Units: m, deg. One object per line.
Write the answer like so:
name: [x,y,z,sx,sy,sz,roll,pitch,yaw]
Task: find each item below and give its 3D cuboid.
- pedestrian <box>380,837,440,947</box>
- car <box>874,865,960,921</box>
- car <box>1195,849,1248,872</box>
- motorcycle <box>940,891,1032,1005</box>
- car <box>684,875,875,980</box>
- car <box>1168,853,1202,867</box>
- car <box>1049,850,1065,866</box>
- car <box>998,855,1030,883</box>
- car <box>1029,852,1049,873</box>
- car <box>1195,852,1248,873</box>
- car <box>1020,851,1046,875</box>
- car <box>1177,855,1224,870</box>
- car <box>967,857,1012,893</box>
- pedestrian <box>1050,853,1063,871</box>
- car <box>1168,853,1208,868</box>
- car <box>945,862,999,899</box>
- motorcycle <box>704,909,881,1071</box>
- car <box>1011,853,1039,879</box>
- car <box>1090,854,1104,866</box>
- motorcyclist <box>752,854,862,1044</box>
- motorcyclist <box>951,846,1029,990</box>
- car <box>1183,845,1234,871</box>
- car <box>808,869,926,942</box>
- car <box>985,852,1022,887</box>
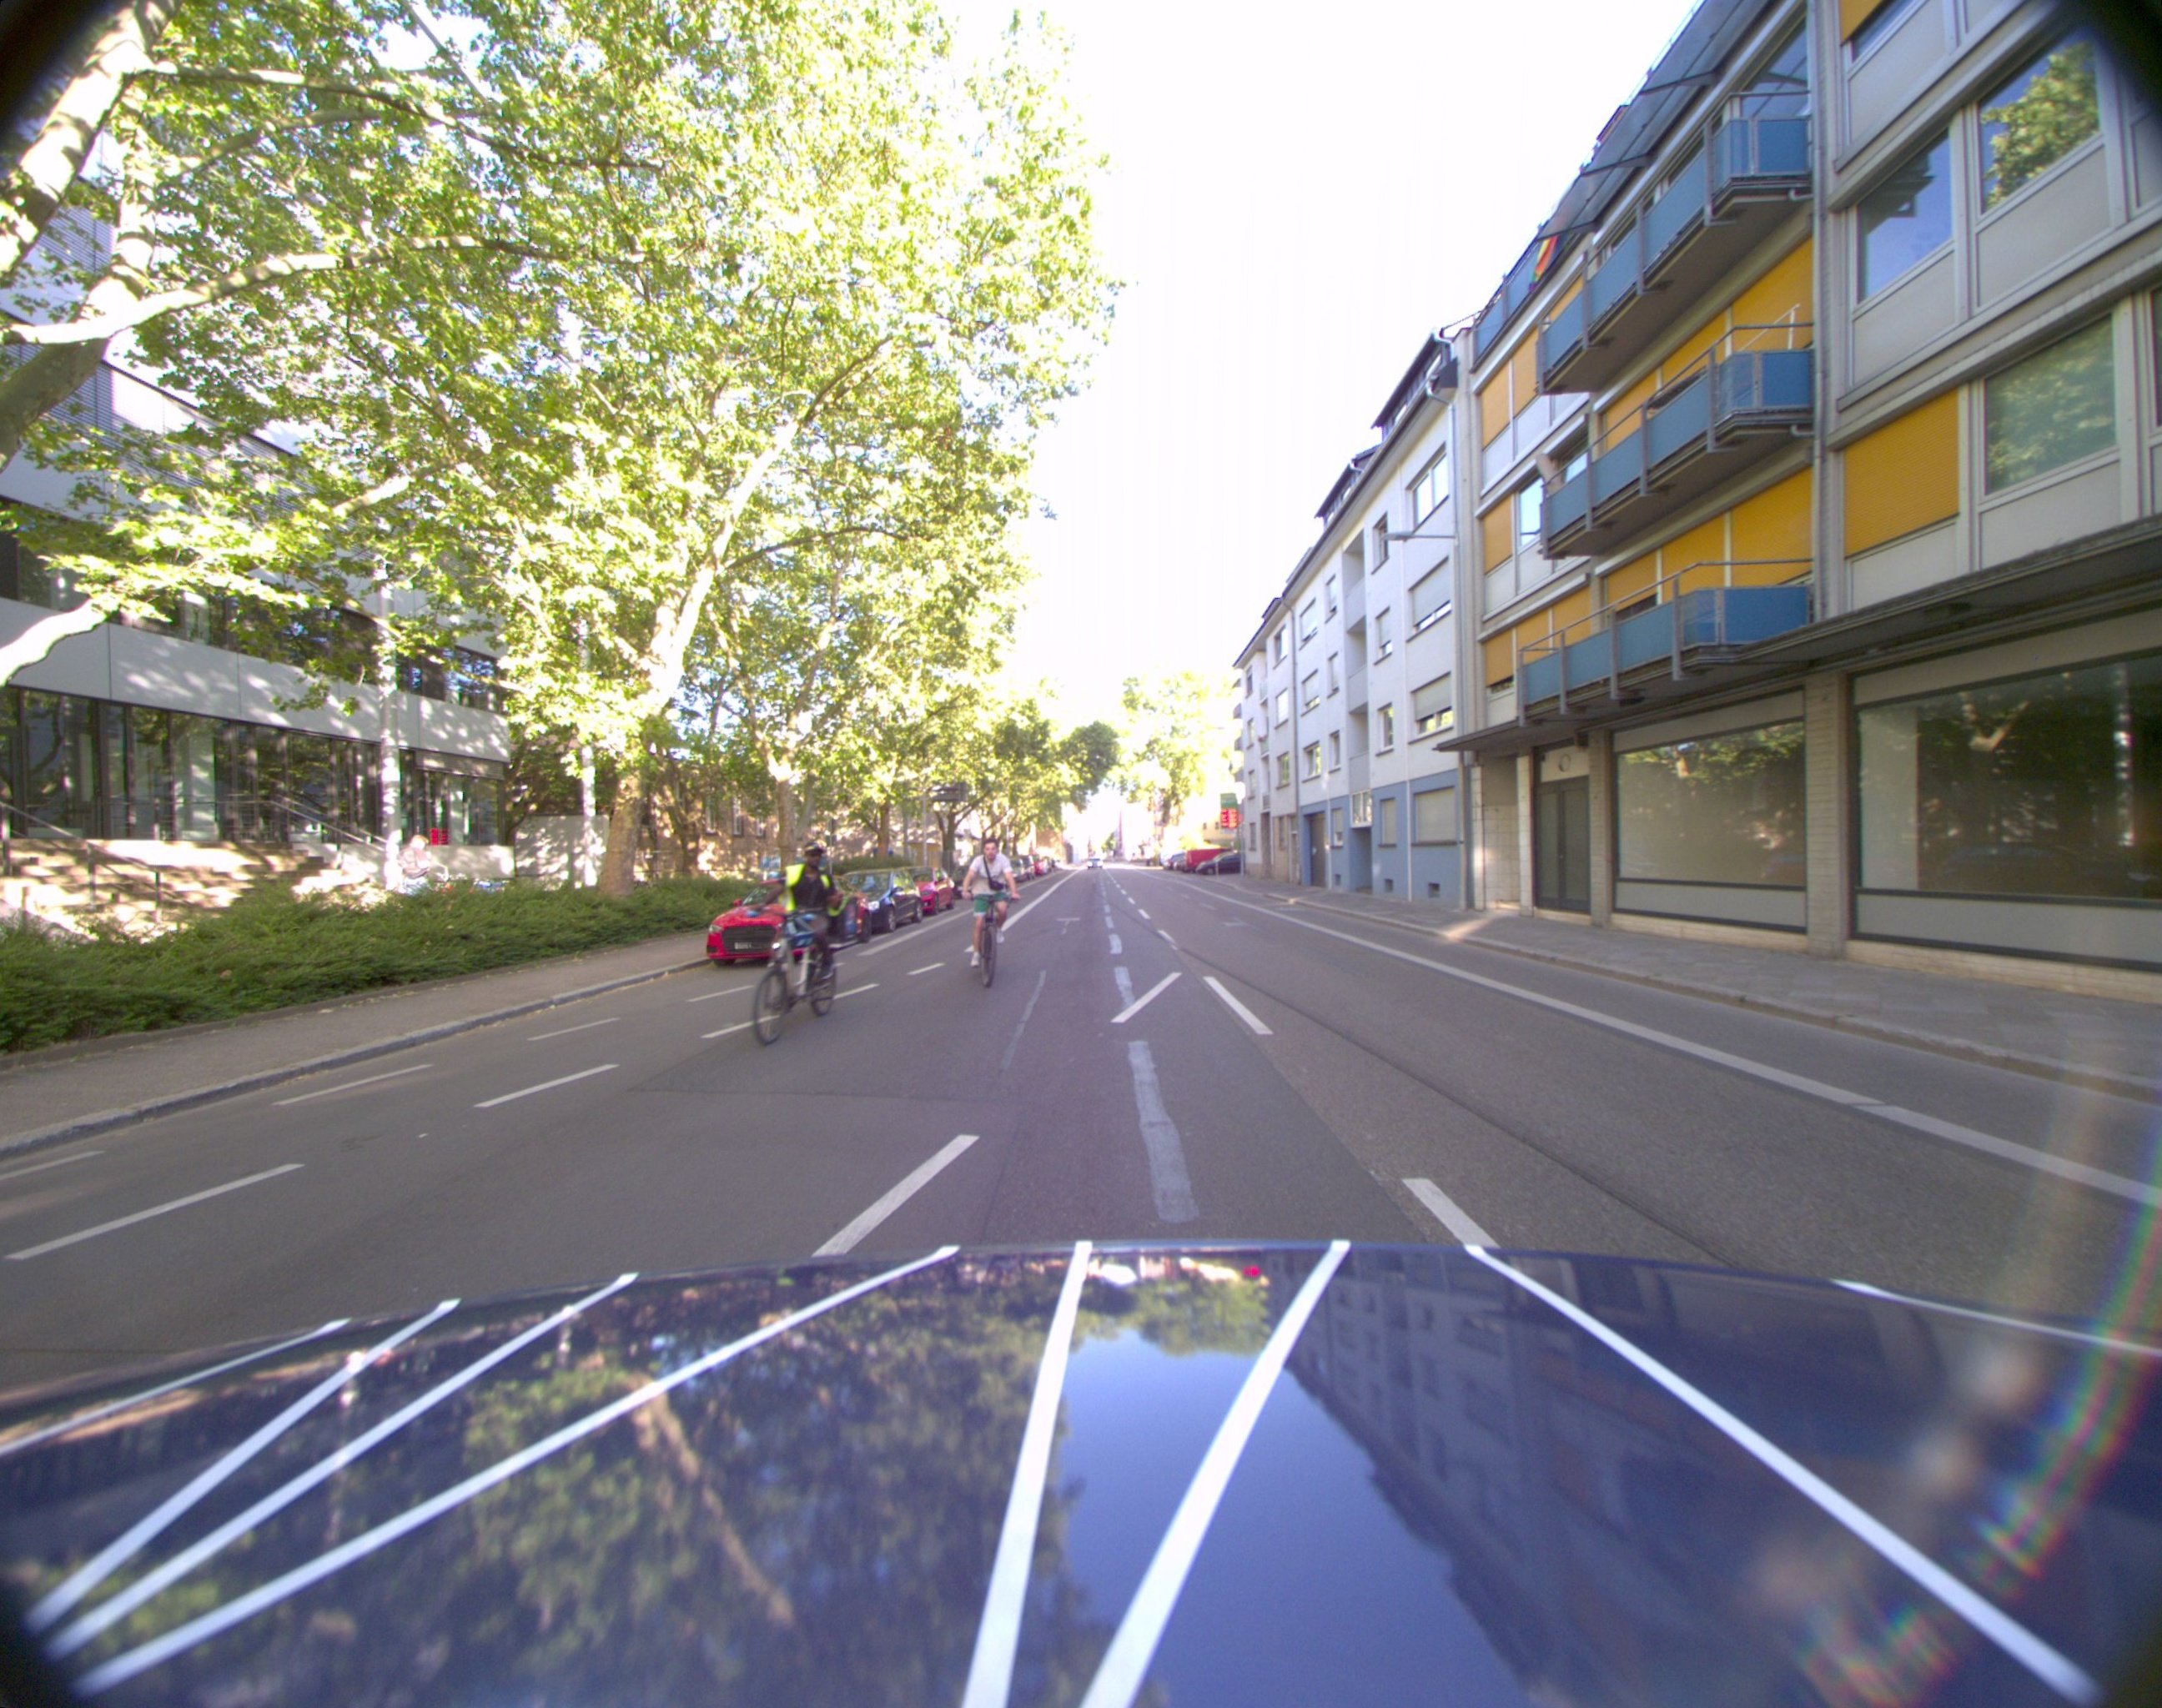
pedestrian: [-12.669,0.699,14.355,0.552,2.002,0.562,-2,1,-11]
car: [-5.013,1.133,23.684,1.692,1.441,3.923,-2,1,1]
car: [10.535,0.481,57.097,3.687,1.503,1.490,-2,1,2]
motorcycle: [-1.146,1.121,9.665,0.865,1.161,1.929,-2,1,1]
car: [-5.162,1.180,13.657,1.794,1.384,3.999,-2,1,0]
car: [10.325,0.577,75.466,3.271,1.238,1.345,-2,1,2]
car: [-3.232,0.497,102.645,1.998,2.002,4.000,-2,0,1]
car: [-4.352,0.939,50.112,1.634,1.604,4.576,-2,1,0]
car: [-3.901,0.806,71.003,1.599,1.835,3.769,-2,1,0]
car: [10.092,0.586,54.728,3.508,1.380,1.490,-2,1,2]
car: [-4.168,0.722,66.091,1.915,1.940,3.769,-2,1,0]
car: [9.814,0.689,62.587,3.687,1.122,1.345,-2,1,2]
car: [-4.517,0.992,38.107,1.634,1.569,4.231,-2,1,0]
pedestrian: [-2.411,0.748,75.020,0.827,1.727,0.894,-1,1,35]
car: [10.269,0.623,73.029,3.687,1.238,1.345,-2,1,2]
car: [-4.693,1.112,33.236,1.692,1.414,3.923,-2,1,0]
motorcycle: [-2.677,1.205,7.398,0.799,1.125,2.236,-2,1,1]
car: [-4.036,0.815,55.239,1.634,1.725,3.769,-2,1,0]
car: [1.993,0.729,94.458,1.752,1.423,4.266,-2,0,1]
motorcyclist: [-2.659,0.888,7.451,0.719,1.733,0.751,-2,1,1]
motorcyclist: [-1.168,0.803,9.989,0.833,1.778,0.913,-2,1,1]
car: [10.062,0.317,59.942,3.688,1.897,1.490,-2,-1,-1]
car: [-5.050,1.163,18.411,1.669,1.410,3.697,-2,1,1]
car: [-4.454,0.853,44.240,1.634,1.781,4.576,-2,1,0]
